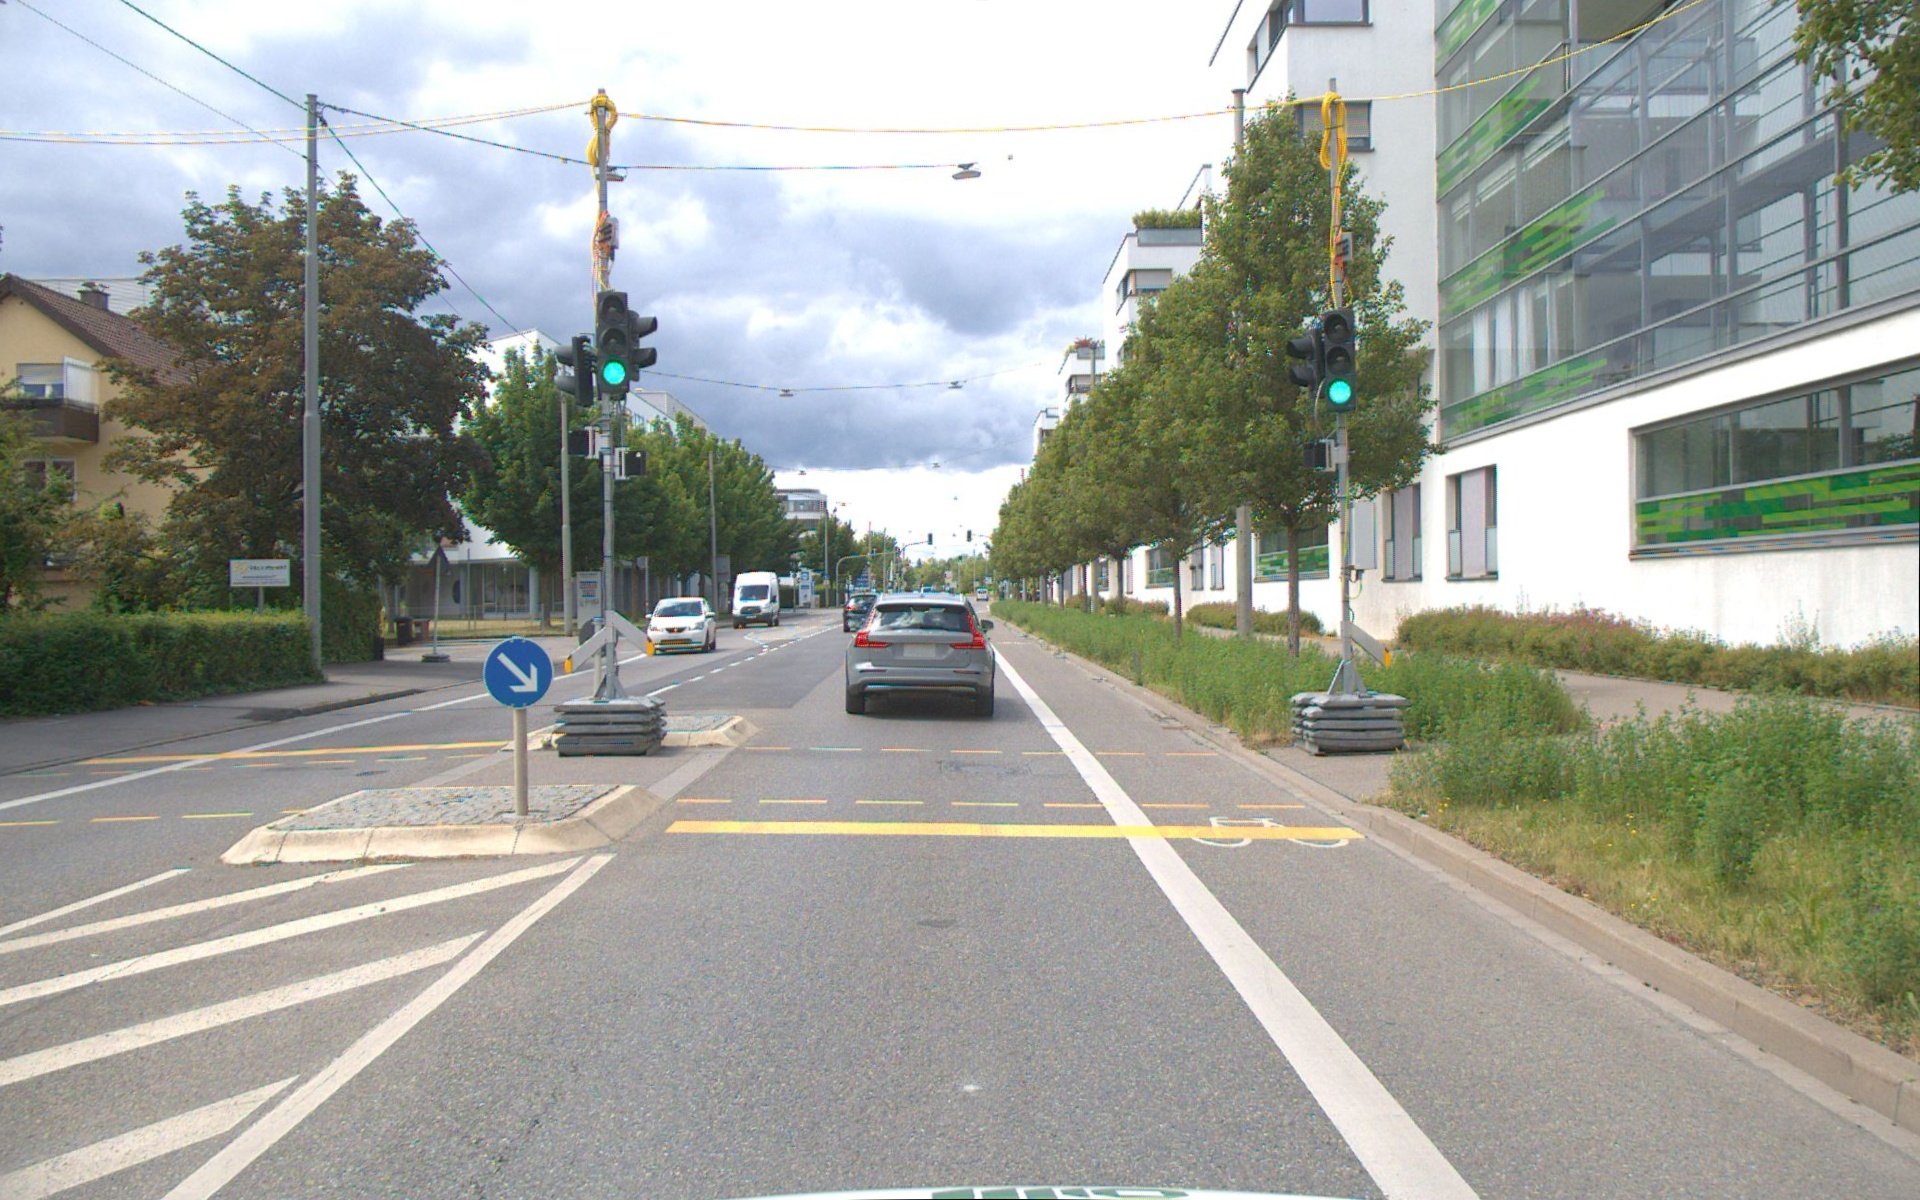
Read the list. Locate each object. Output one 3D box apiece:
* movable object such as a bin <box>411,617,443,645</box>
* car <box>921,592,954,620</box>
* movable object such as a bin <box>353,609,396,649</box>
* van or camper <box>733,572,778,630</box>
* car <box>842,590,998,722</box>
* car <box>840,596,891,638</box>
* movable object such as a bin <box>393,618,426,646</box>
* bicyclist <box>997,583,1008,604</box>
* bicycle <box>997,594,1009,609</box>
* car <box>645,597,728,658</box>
[{"bbox_3d":[-19.112,1.111,59.336,0.730,0.958,1.000,-2,0,6],"label":"movable object such as a bin"},{"bbox_3d":[-1.287,0.343,94.234,1.807,1.539,3.999,0,0,-1],"label":"car"},{"bbox_3d":[-21.197,1.041,59.858,1.387,1.353,1.414,-2,0,-22],"label":"movable object such as a bin"},{"bbox_3d":[-10.397,0.054,84.406,1.955,2.781,6.046,-2,0,-5],"label":"van or camper"},{"bbox_3d":[-0.481,0.653,21.314,1.816,1.539,3.999,0,0,-1],"label":"car"},{"bbox_3d":[-3.612,0.623,63.563,1.817,1.539,3.999,0,0,-1],"label":"car"},{"bbox_3d":[-19.847,1.140,59.641,0.730,0.958,1.000,-2,0,6],"label":"movable object such as a bin"},{"bbox_3d":[4.290,-0.652,168.289,0.993,2.049,1.131,-2,0,-2],"label":"bicyclist"},{"bbox_3d":[4.333,0.112,168.195,1.045,1.478,2.977,-2,0,-1],"label":"bicycle"},{"bbox_3d":[-7.477,0.713,45.493,1.627,1.542,3.999,-1,0,-1],"label":"car"}]
